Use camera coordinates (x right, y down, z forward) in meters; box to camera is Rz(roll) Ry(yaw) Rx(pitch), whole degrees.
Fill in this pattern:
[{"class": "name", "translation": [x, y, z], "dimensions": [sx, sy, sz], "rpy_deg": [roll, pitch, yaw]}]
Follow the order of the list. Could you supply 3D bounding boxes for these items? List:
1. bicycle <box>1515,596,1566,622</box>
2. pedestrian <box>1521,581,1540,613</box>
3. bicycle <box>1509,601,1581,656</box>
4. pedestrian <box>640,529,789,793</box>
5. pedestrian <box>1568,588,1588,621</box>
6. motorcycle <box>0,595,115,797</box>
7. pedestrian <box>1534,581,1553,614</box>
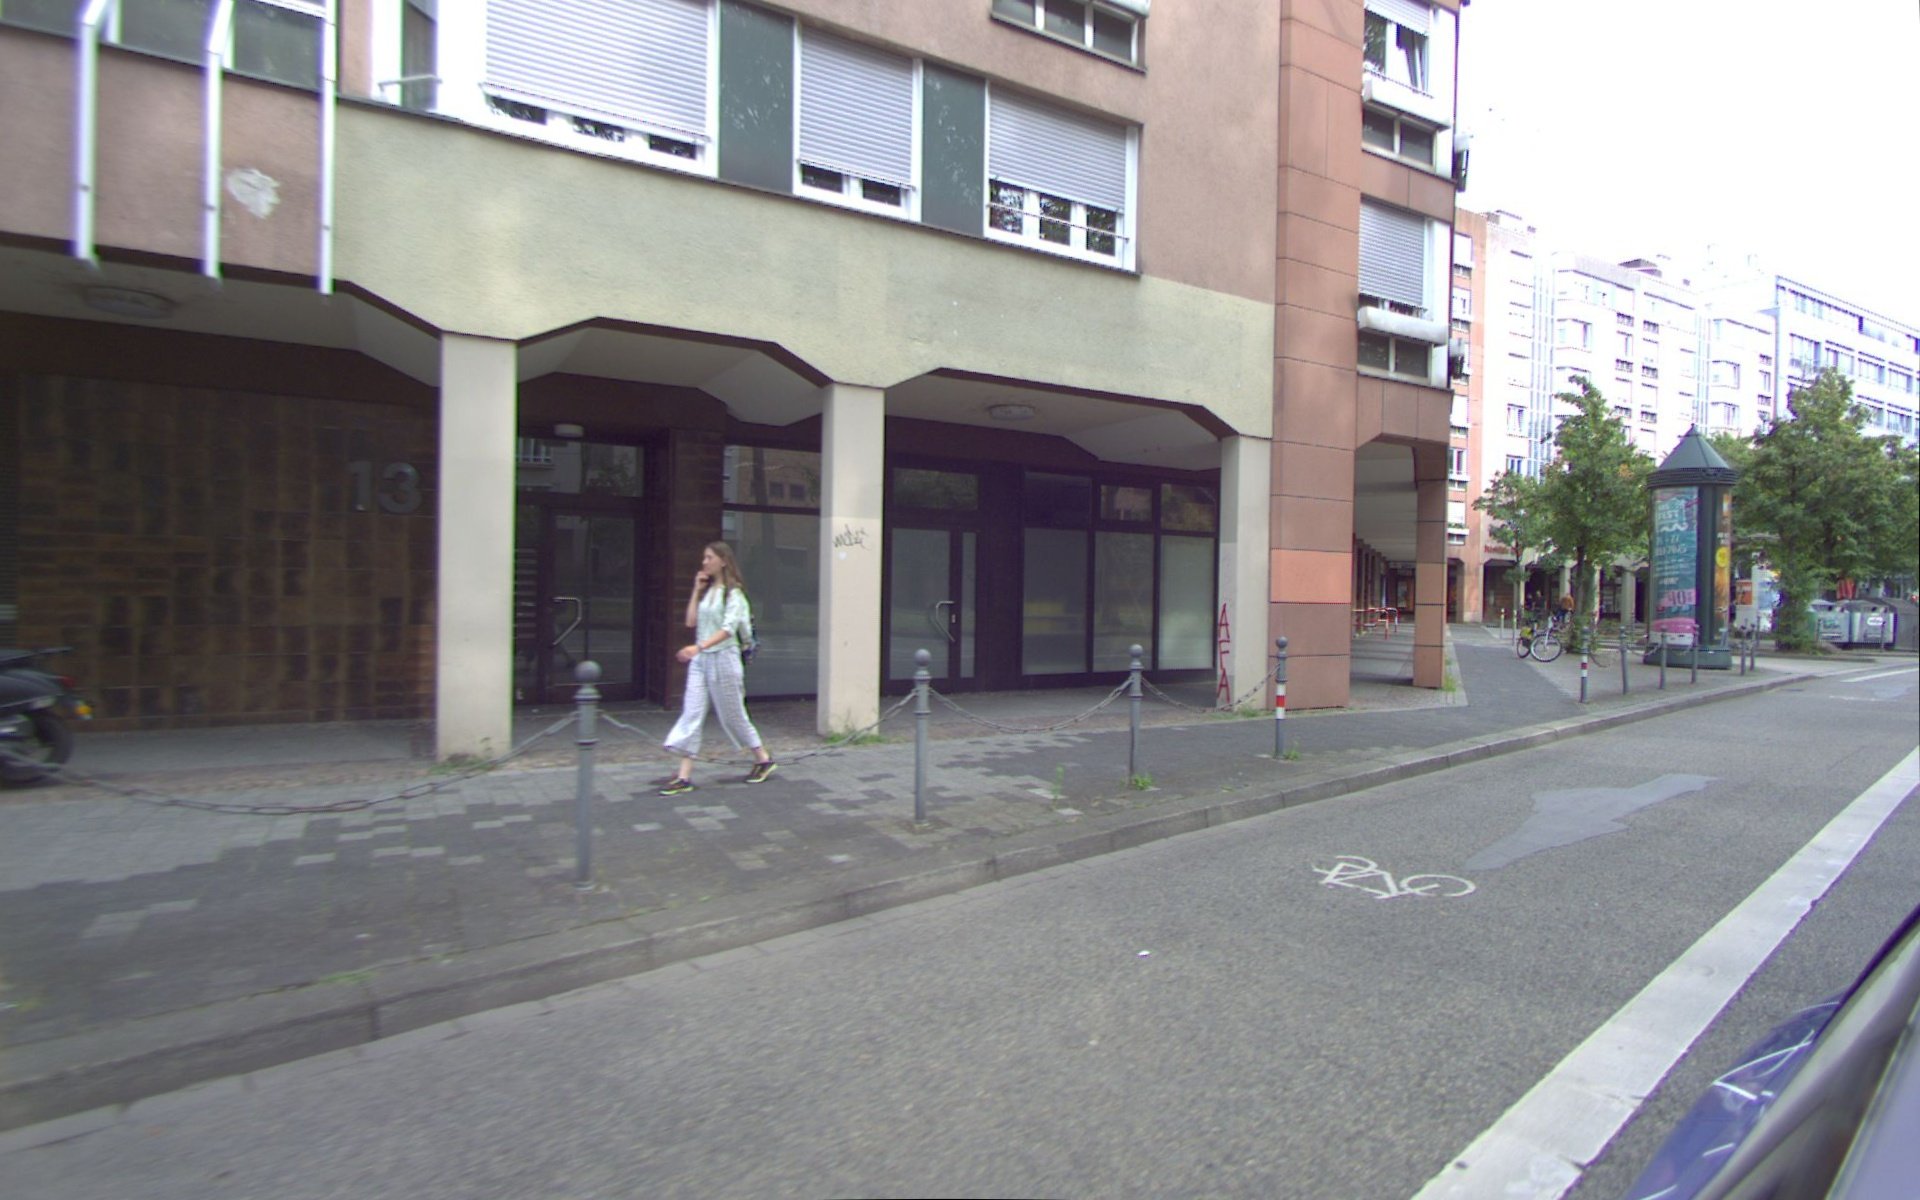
[{"class": "bicycle", "translation": [26.418, 0.408, 46.066], "dimensions": [1.929, 1.126, 0.596], "rpy_deg": [1, 0, 4]}, {"class": "pedestrian", "translation": [30.398, -0.142, 53.931], "dimensions": [0.668, 1.683, 0.608], "rpy_deg": [1, 0, -32]}, {"class": "bicycle", "translation": [13.335, 0.624, 23.118], "dimensions": [0.658, 1.142, 1.665], "rpy_deg": [1, 2, 0]}, {"class": "pedestrian", "translation": [-1.659, 0.381, 6.858], "dimensions": [0.810, 1.670, 0.544], "rpy_deg": [1, 0, -41]}, {"class": "pedestrian", "translation": [32.504, 0.241, 53.230], "dimensions": [0.834, 1.683, 0.535], "rpy_deg": [1, 0, -29]}, {"class": "motorcycle", "translation": [-6.284, 0.557, 5.994], "dimensions": [1.865, 1.170, 0.619], "rpy_deg": [1, 1, -30]}, {"class": "pedestrian", "translation": [30.780, -0.133, 53.369], "dimensions": [0.668, 1.683, 0.608], "rpy_deg": [1, 0, -32]}]
